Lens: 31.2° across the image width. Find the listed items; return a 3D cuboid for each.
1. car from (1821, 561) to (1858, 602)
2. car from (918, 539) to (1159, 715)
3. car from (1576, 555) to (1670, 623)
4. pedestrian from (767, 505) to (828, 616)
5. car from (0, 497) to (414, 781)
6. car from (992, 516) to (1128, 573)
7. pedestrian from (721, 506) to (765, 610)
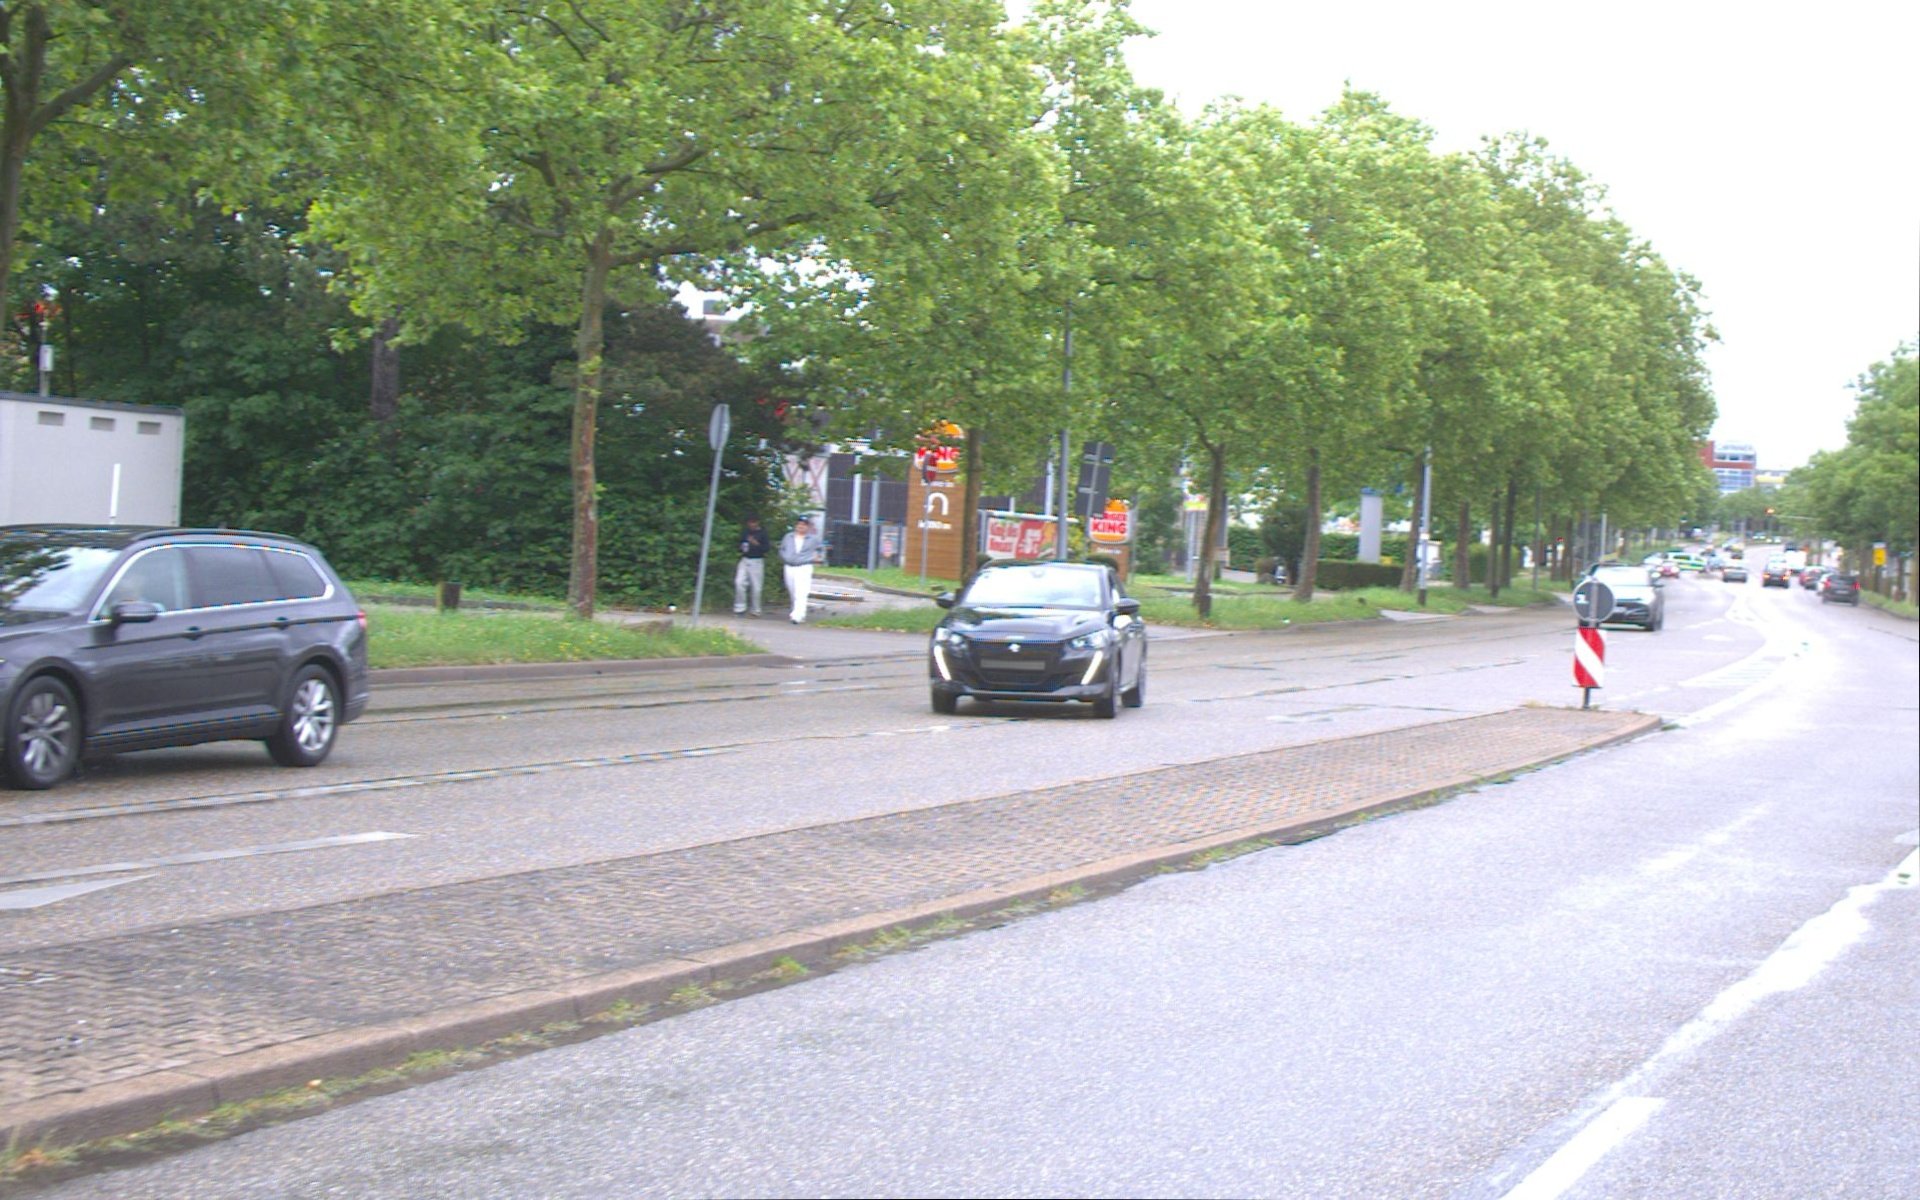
[{"bbox_3d":[44.947,-0.933,175.703,1.746,2.007,3.997,3,1,14],"label":"car"},{"bbox_3d":[0.803,0.215,32.552,1.644,1.503,3.892,2,1,10],"label":"car"},{"bbox_3d":[16.552,-0.263,85.680,1.813,1.556,4.594,3,1,16],"label":"car"},{"bbox_3d":[-2.656,-0.650,56.094,0.666,1.760,0.582,5,2,37],"label":"pedestrian"},{"bbox_3d":[-5.325,0.164,20.335,1.996,1.503,4.725,2,1,21],"label":"car"},{"bbox_3d":[2.589,-1.426,88.776,3.179,1.151,1.289,6,2,21],"label":"car"},{"bbox_3d":[-3.540,-0.686,56.045,0.512,1.677,0.540,2,1,15],"label":"pedestrian"}]
